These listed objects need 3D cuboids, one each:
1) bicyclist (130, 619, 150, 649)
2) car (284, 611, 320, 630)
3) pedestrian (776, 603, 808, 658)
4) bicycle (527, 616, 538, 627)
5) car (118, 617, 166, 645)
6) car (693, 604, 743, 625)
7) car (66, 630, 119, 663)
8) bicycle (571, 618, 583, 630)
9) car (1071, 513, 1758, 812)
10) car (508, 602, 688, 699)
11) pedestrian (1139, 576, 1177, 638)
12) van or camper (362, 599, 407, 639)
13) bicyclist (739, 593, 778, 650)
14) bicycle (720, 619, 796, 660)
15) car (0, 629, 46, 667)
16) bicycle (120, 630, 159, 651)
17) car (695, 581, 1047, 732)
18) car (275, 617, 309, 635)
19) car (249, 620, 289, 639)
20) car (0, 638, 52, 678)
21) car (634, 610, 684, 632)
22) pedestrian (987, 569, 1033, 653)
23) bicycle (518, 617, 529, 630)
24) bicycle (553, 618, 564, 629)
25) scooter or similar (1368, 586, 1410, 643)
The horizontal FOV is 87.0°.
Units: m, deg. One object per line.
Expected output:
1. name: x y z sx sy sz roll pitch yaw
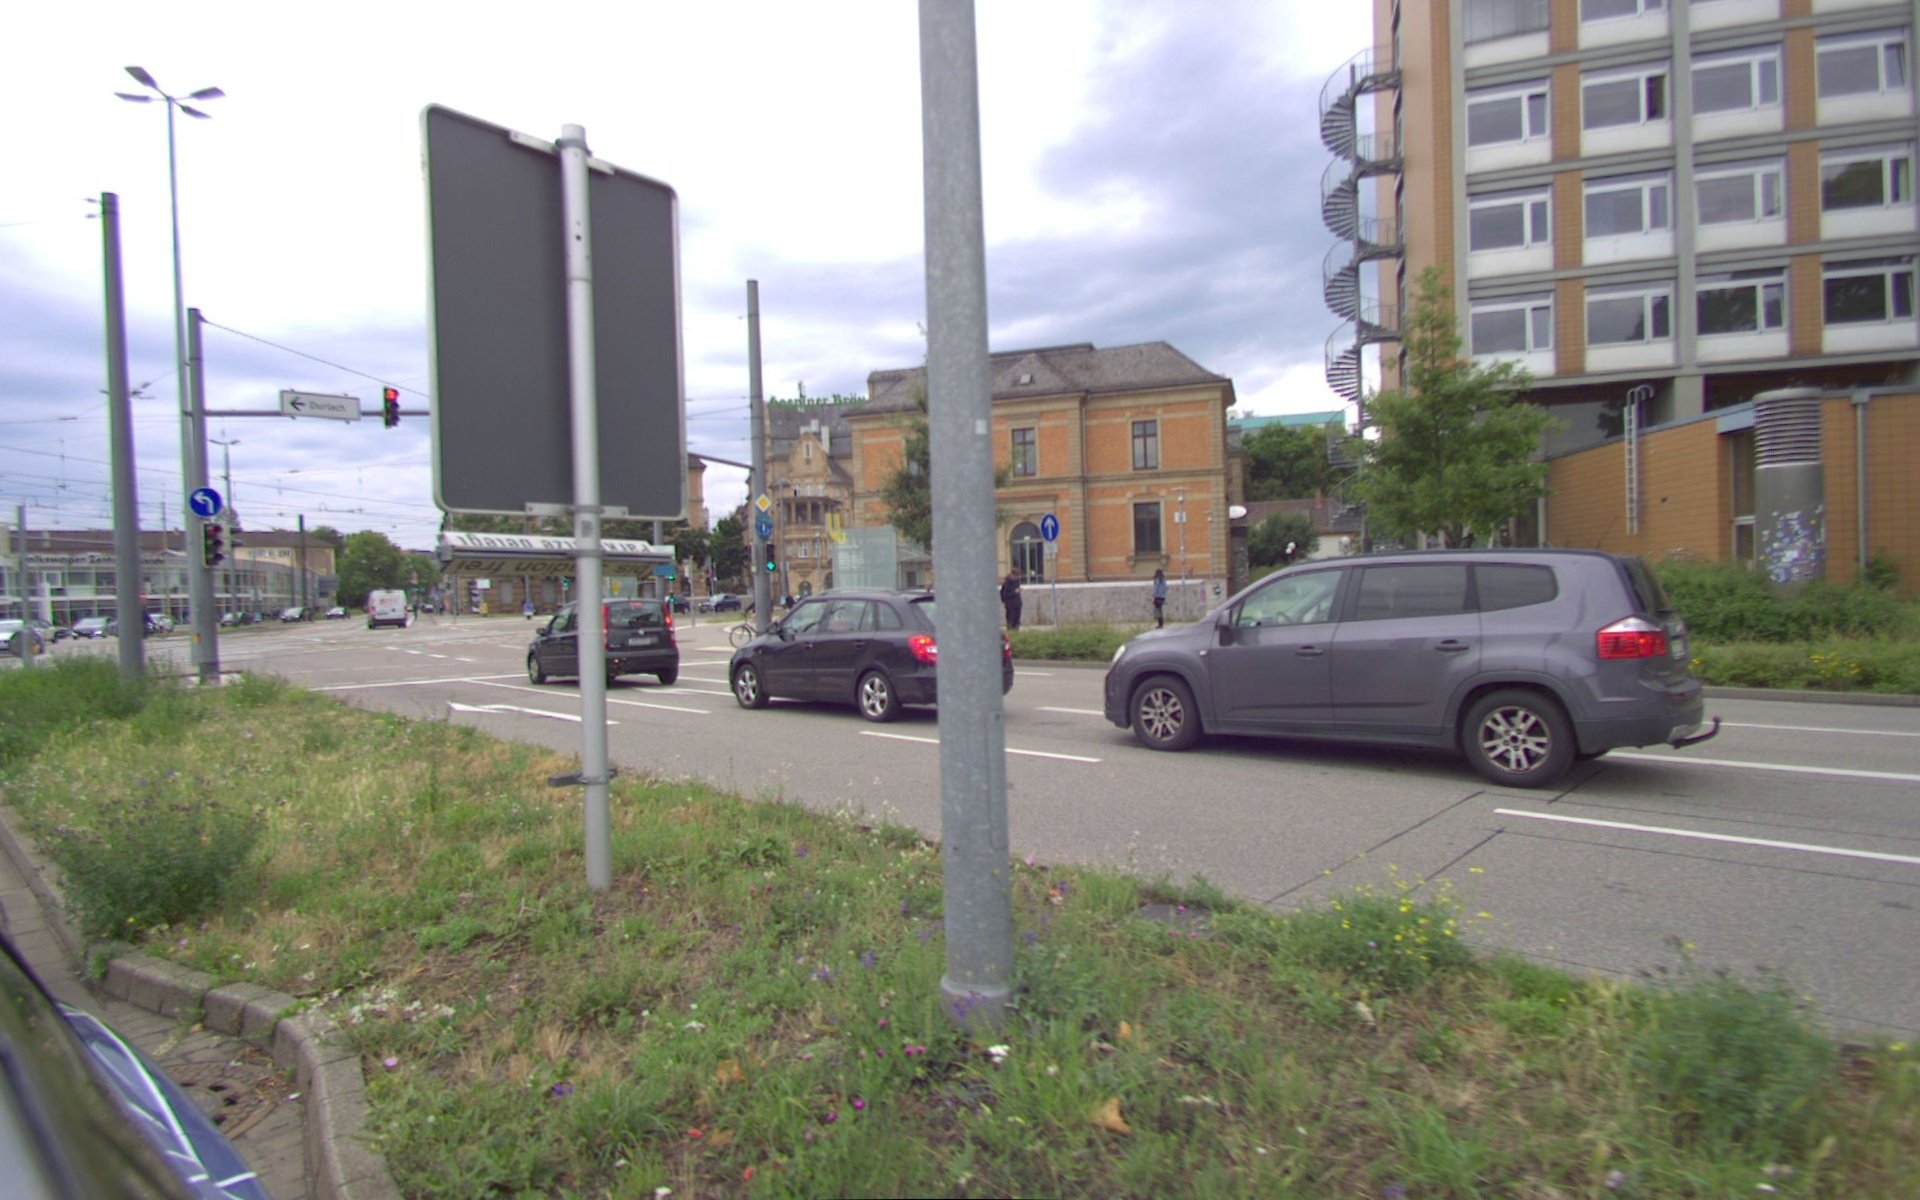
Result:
1. bicyclist: -45.961 1.885 56.722 0.514 1.651 0.650 -2 0 24
2. car: -79.472 2.441 122.347 2.334 2.150 5.145 -2 0 -18
3. pedestrian: -4.921 0.884 29.594 0.571 1.563 0.750 -1 -1 -42
4. bicycle: -40.122 2.018 94.948 0.742 1.038 2.404 -2 0 -27
5. car: -62.250 2.357 77.093 1.965 2.029 4.013 -2 0 -26
6. car: -21.256 1.255 89.216 2.144 1.727 4.898 -2 0 16
7. car: -58.243 3.097 68.020 1.966 2.029 4.012 -2 0 -30
8. bicycle: -36.546 2.273 96.517 0.742 1.038 2.404 -2 0 -27
9. car: 3.360 0.426 8.189 4.712 1.738 1.850 -2 -2 43
10. car: -6.453 0.849 17.851 1.599 1.527 3.667 0 -1 -44
11. pedestrian: 5.651 0.194 28.906 0.737 1.747 0.687 -1 -1 -41
12. van or camper: -38.664 1.284 67.891 2.248 2.547 5.588 -1 -1 -33
13. bicyclist: -6.263 0.672 31.400 0.802 1.669 0.795 -4 -1 -37
14. bicycle: -6.241 1.222 31.351 2.086 1.036 0.797 -5 0 -37
15. car: -38.507 1.919 40.658 1.941 1.467 4.205 -2 0 -32
16. bicycle: -45.962 2.252 56.708 0.525 1.078 1.602 -2 0 23
17. car: -1.248 0.646 12.412 4.481 1.519 1.849 -2 -3 45
18. car: -73.474 2.848 111.398 2.333 1.768 5.146 -2 0 -24
19. car: -76.597 3.245 112.297 2.334 1.925 5.145 -2 0 -18
20. car: -51.742 3.181 55.880 1.967 2.029 4.009 -1 -1 -36
21. car: -24.712 1.715 83.198 1.982 1.623 4.223 -2 0 16
22. pedestrian: 1.209 0.266 24.482 0.809 1.995 0.659 -1 -1 -41
23. bicycle: -40.798 2.157 94.590 0.823 1.038 2.405 -2 3 -27
24. bicycle: -38.088 2.245 96.013 0.742 1.038 2.404 -2 0 -27
25. scooter or similar: 10.254 0.327 24.172 0.628 1.312 1.757 -2 -1 31
